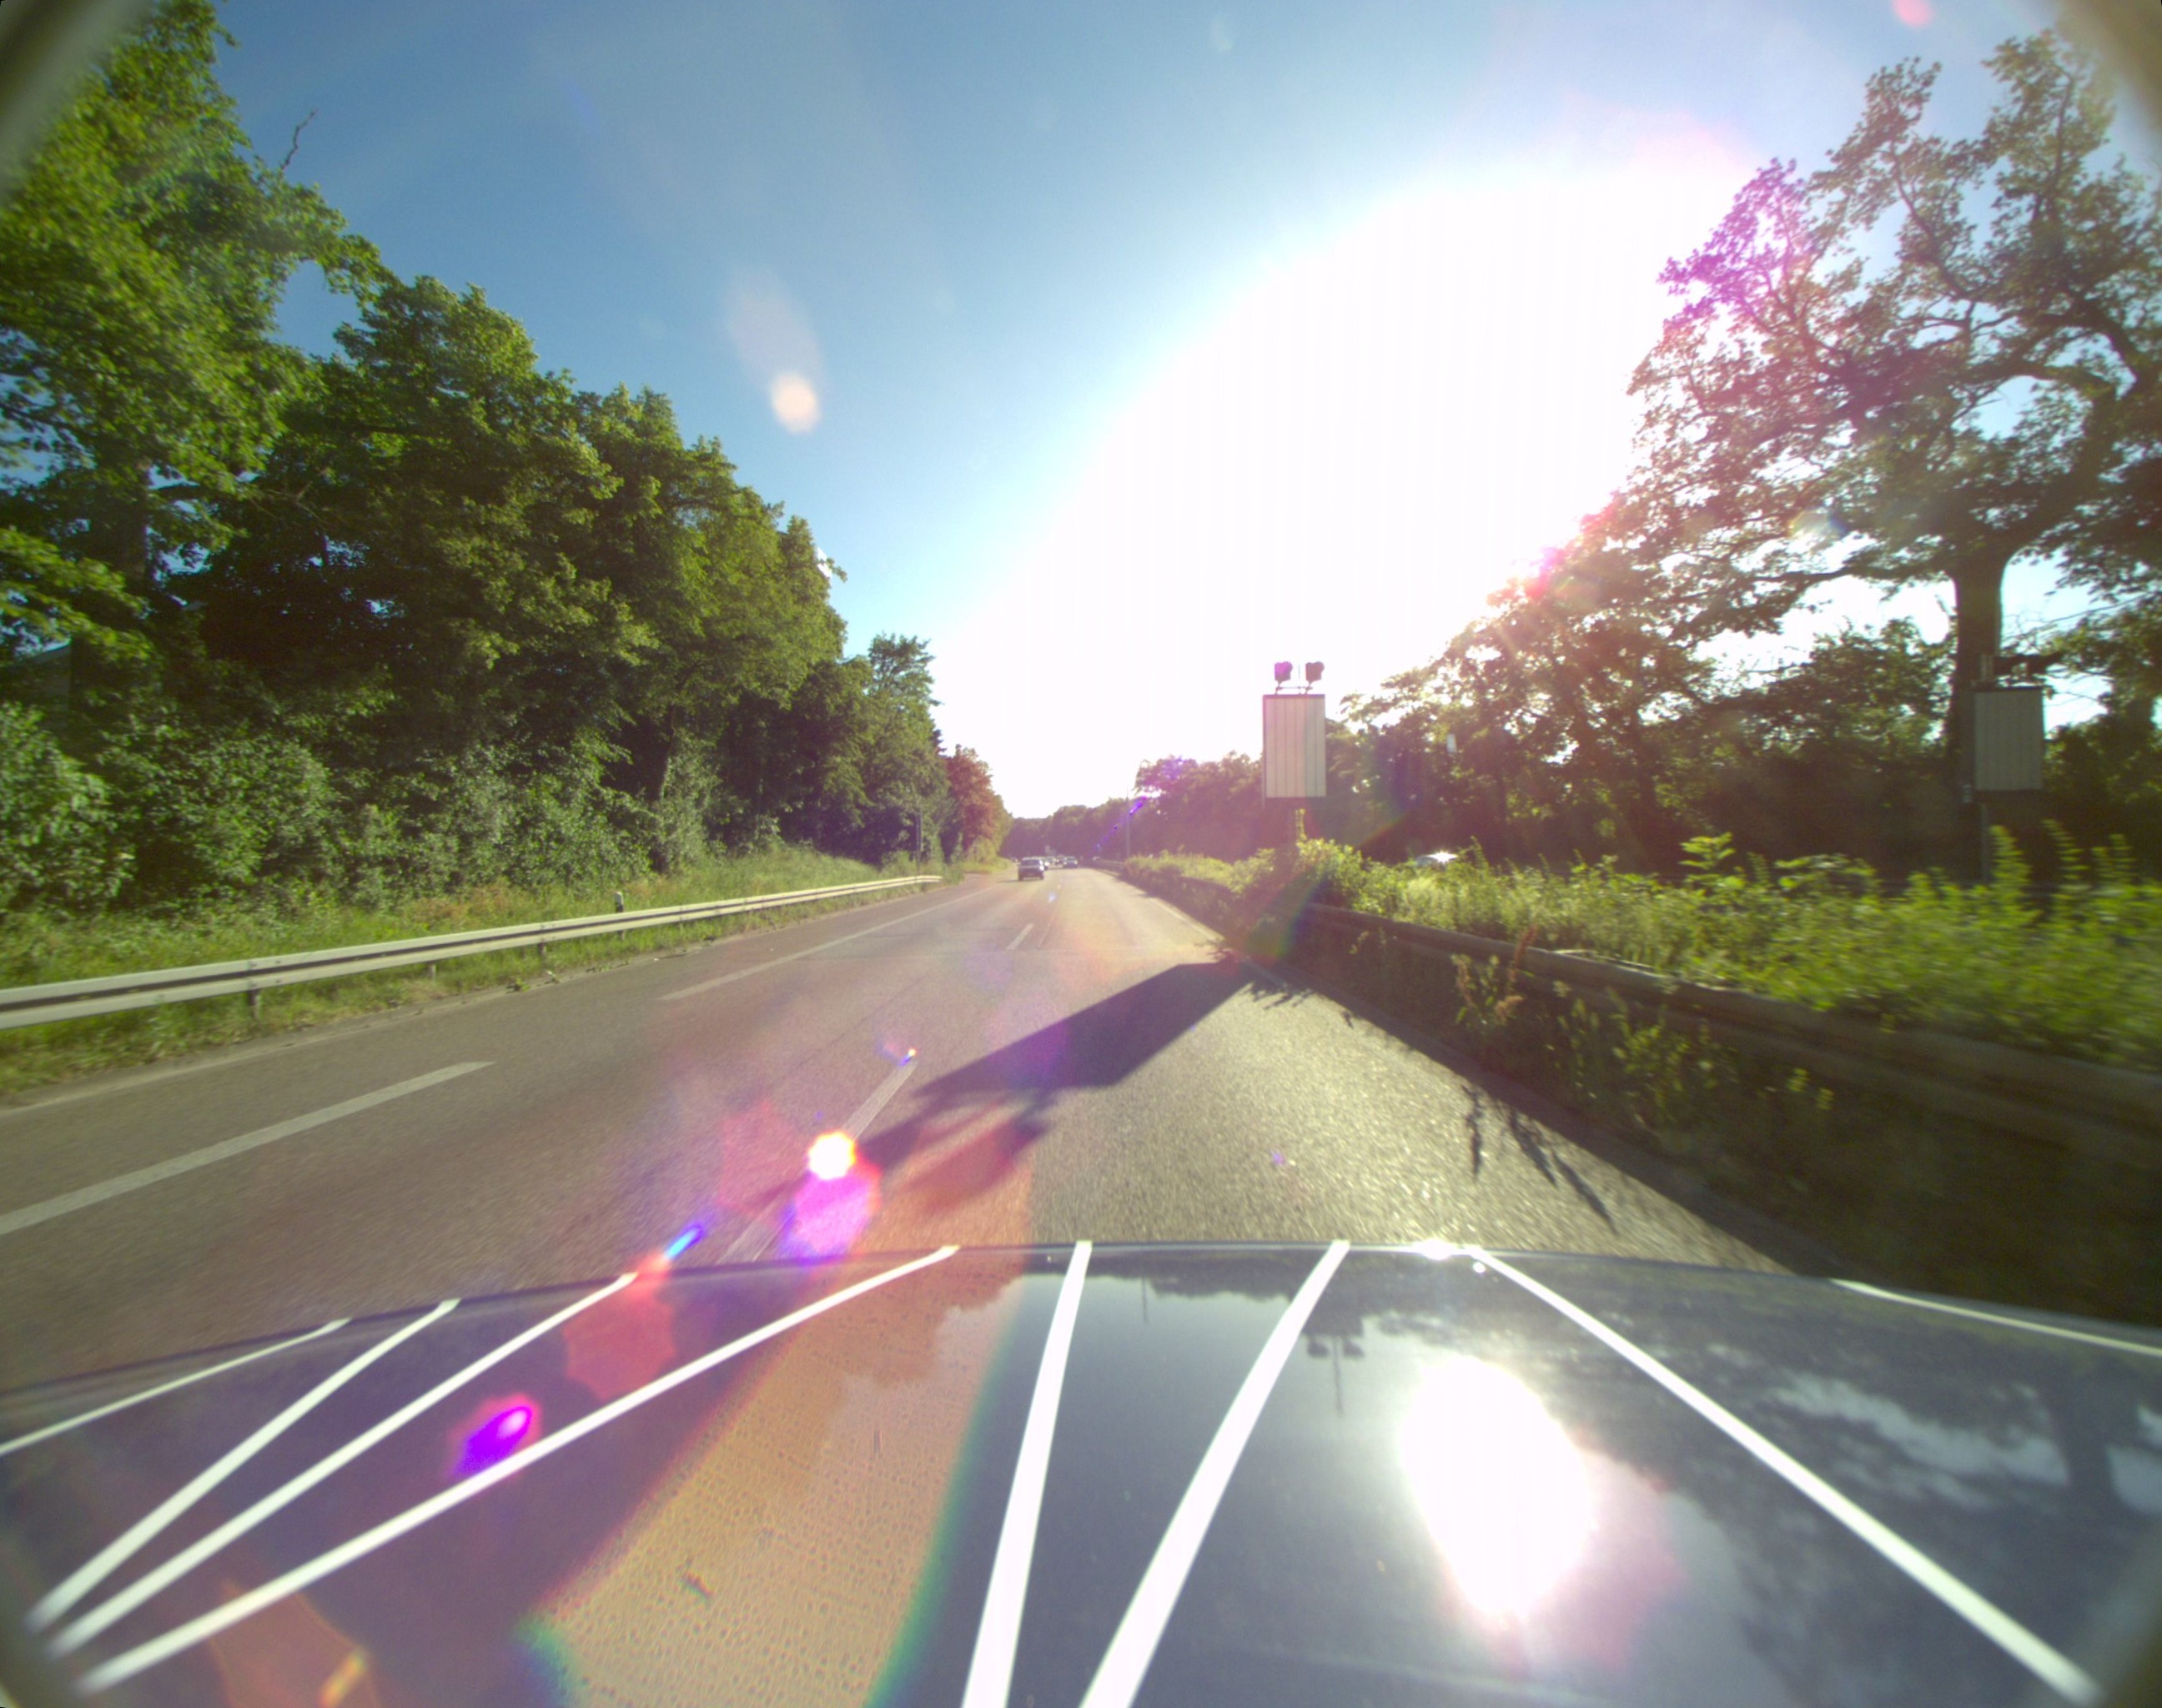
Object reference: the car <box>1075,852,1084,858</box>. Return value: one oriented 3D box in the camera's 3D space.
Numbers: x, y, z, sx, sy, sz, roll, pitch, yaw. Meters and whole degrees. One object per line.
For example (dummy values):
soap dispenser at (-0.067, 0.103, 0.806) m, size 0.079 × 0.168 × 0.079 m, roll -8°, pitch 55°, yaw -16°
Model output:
car at (-0.506, 0.324, 213.892) m, size 2.077 × 1.458 × 4.983 m, roll -2°, pitch 0°, yaw -5°

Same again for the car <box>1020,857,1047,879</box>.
car at (-3.405, 0.988, 54.169) m, size 1.801 × 1.453 × 4.354 m, roll -1°, pitch 0°, yaw -4°

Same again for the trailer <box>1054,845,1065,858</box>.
trailer at (-7.129, -0.771, 252.638) m, size 3.061 × 3.974 × 10.967 m, roll -2°, pitch 0°, yaw -5°

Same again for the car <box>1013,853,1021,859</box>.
car at (-19.372, 0.593, 231.577) m, size 2.000 × 2.002 × 3.996 m, roll -2°, pitch 0°, yaw -10°

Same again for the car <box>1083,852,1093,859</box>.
car at (1.764, 0.320, 195.512) m, size 2.077 × 1.604 × 5.056 m, roll -2°, pitch 0°, yaw -5°

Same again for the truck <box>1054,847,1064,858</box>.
truck at (-7.650, -0.590, 258.845) m, size 2.989 × 3.609 × 6.153 m, roll -2°, pitch 0°, yaw -4°

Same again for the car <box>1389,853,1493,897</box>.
car at (12.835, 0.709, 27.370) m, size 1.713 × 1.416 × 4.132 m, roll -1°, pitch 0°, yaw -1°

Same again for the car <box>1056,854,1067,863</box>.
car at (-3.349, 0.721, 130.505) m, size 1.801 × 1.453 × 4.354 m, roll -1°, pitch 0°, yaw -3°

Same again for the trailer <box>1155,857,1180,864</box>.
trailer at (11.053, 0.796, 97.534) m, size 2.264 × 0.736 × 6.329 m, roll -1°, pitch 0°, yaw -3°

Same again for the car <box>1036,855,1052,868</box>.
car at (-4.321, 0.879, 88.462) m, size 1.801 × 1.453 × 4.354 m, roll -1°, pitch 0°, yaw -4°

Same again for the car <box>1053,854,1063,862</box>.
car at (-4.436, 0.750, 144.542) m, size 1.801 × 1.453 × 4.401 m, roll -1°, pitch 0°, yaw -3°

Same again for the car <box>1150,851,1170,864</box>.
car at (10.802, 0.441, 103.563) m, size 1.966 × 1.714 × 4.743 m, roll -2°, pitch 0°, yaw -3°

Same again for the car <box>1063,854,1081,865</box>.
car at (-1.258, 0.713, 99.673) m, size 1.905 × 1.453 × 4.353 m, roll -1°, pitch 0°, yaw -7°

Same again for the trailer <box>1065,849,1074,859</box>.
trailer at (-3.230, -0.011, 207.627) m, size 1.999 × 2.423 × 4.604 m, roll -1°, pitch 0°, yaw -6°
